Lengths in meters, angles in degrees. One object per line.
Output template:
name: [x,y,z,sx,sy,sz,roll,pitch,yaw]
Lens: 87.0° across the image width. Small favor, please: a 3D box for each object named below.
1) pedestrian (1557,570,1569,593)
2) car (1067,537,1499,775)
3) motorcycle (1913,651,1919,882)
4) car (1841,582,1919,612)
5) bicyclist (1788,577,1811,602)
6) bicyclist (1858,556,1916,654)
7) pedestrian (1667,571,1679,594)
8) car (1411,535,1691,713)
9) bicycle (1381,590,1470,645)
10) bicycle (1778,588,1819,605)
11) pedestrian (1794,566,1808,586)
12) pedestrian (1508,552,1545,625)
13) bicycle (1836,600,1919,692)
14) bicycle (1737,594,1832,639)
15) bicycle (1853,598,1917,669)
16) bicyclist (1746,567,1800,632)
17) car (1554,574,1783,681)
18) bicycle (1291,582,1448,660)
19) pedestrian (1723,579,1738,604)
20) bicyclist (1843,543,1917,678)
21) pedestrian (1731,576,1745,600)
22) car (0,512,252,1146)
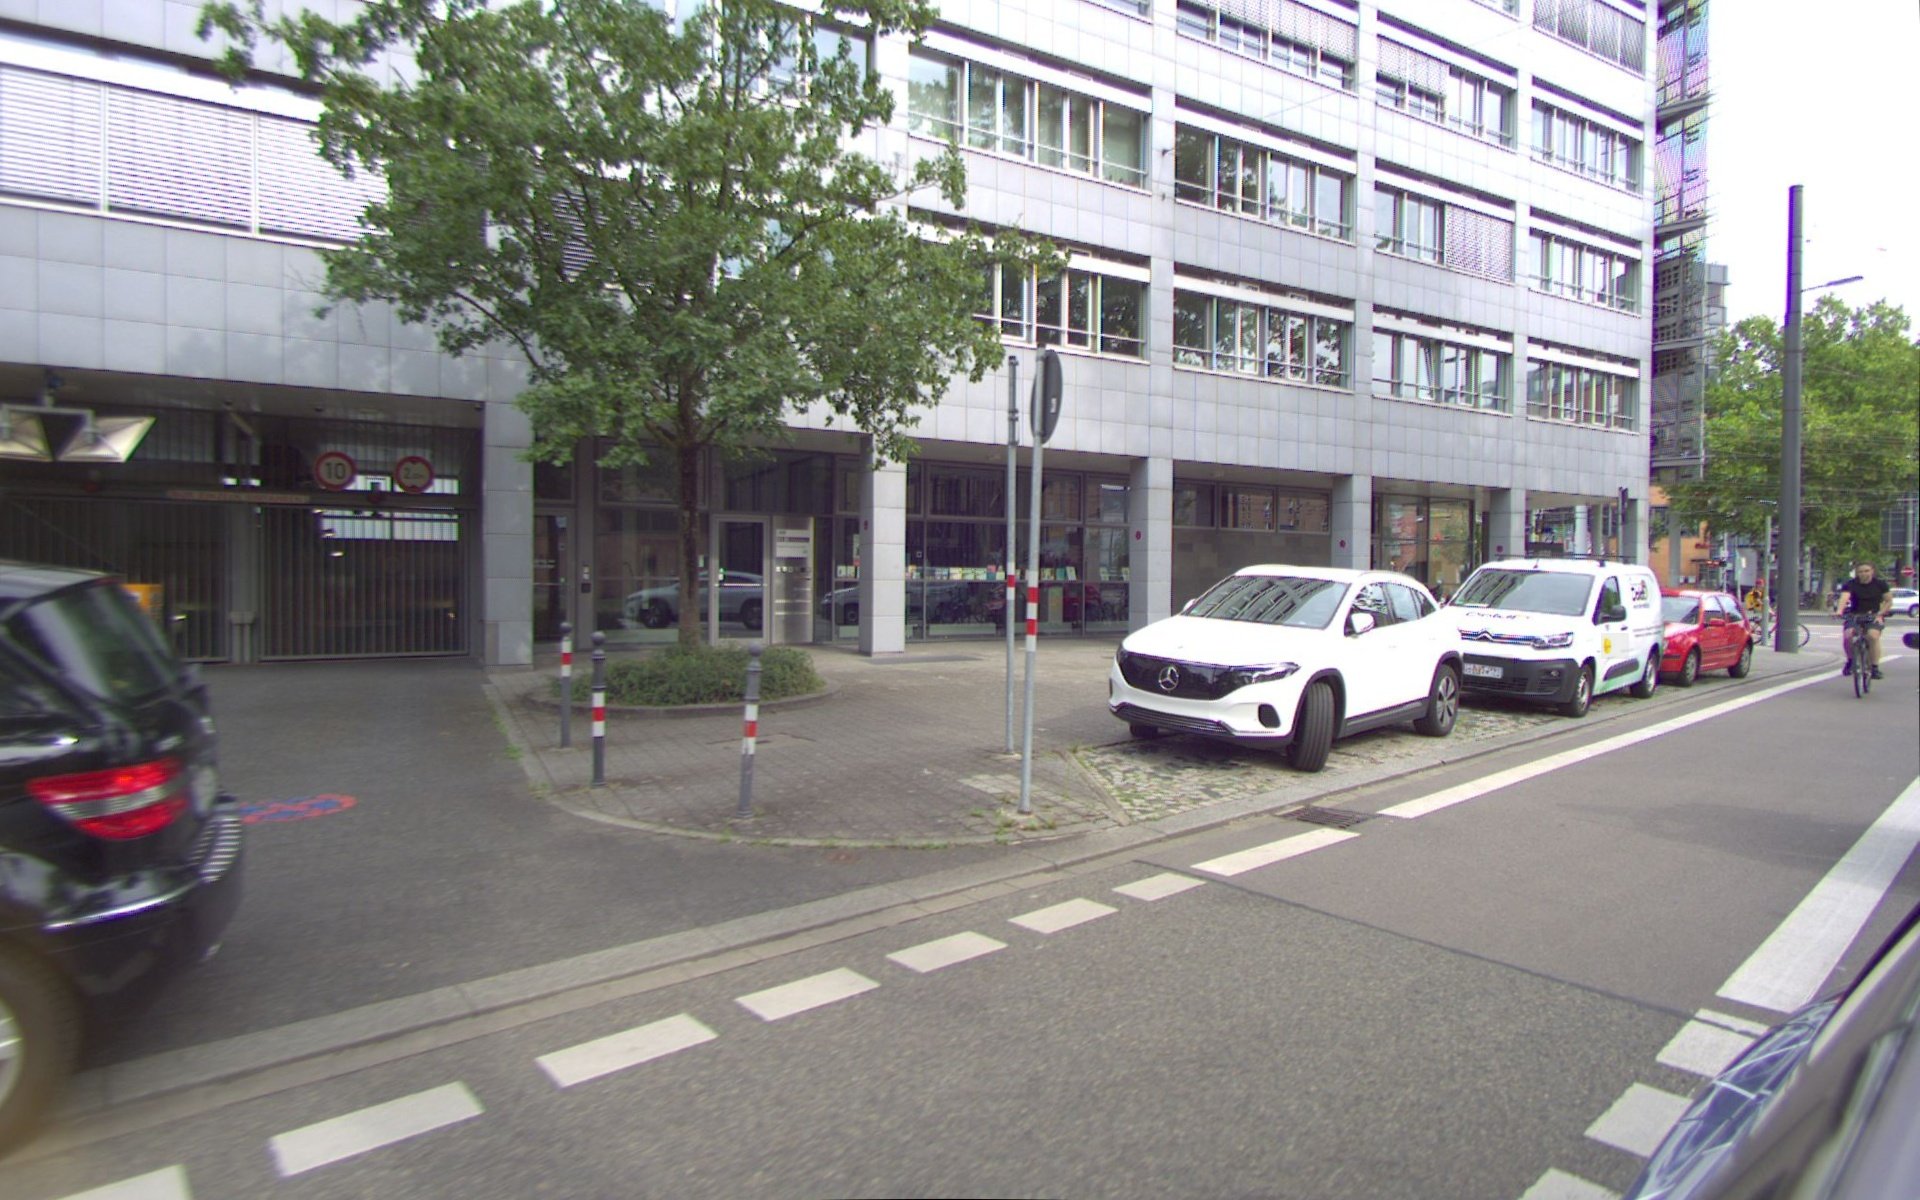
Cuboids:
pedestrian: [50.112,-1.528,84.100,0.617,1.889,0.670,1,1,15]
car: [3.207,0.324,9.458,1.996,1.622,4.510,5,5,44]
motorcycle: [5.715,0.793,5.379,2.171,1.121,0.768,-2,3,-42]
car: [54.232,-0.206,58.485,4.563,1.682,1.959,-1,0,10]
bicyclist: [55.658,-0.679,67.117,0.625,1.636,0.979,0,2,-33]
bicyclist: [16.241,0.068,17.734,1.017,1.674,0.591,-1,2,-40]
pedestrian: [58.762,-1.469,83.381,0.504,1.889,0.547,0,1,-13]
car: [7.748,0.185,13.068,4.570,1.887,1.830,-1,4,-43]
bicycle: [9.337,0.336,20.348,0.416,0.999,1.559,0,2,-44]
bicycle: [55.627,-0.245,67.149,0.626,1.023,2.007,0,2,-33]
pedestrian: [73.427,-2.113,88.356,0.728,1.753,0.589,0,2,-11]
pedestrian: [16.065,-0.330,28.700,0.662,2.039,0.604,3,0,-34]
bicycle: [12.812,0.606,14.097,2.054,1.153,0.595,-1,2,-40]
bicycle: [22.821,0.436,28.041,0.711,1.153,1.909,0,2,-22]
bicycle: [16.244,0.555,17.755,1.704,1.153,0.595,-1,2,-40]
bicyclist: [22.719,-0.030,28.280,0.704,1.786,0.918,0,2,-23]
car: [11.522,0.360,16.376,4.174,1.450,1.728,-1,4,-37]
bicycle: [7.329,0.329,18.261,0.643,1.274,2.638,0,2,-39]
pedestrian: [52.831,-0.582,69.366,0.729,1.671,0.588,-1,2,-32]
bicyclist: [12.785,0.124,14.058,1.017,1.790,0.591,-1,2,-40]
pedestrian: [56.147,-0.866,73.017,0.729,1.753,0.588,0,1,-32]
car: [-4.245,0.542,2.341,4.222,1.596,1.782,-1,3,-34]
